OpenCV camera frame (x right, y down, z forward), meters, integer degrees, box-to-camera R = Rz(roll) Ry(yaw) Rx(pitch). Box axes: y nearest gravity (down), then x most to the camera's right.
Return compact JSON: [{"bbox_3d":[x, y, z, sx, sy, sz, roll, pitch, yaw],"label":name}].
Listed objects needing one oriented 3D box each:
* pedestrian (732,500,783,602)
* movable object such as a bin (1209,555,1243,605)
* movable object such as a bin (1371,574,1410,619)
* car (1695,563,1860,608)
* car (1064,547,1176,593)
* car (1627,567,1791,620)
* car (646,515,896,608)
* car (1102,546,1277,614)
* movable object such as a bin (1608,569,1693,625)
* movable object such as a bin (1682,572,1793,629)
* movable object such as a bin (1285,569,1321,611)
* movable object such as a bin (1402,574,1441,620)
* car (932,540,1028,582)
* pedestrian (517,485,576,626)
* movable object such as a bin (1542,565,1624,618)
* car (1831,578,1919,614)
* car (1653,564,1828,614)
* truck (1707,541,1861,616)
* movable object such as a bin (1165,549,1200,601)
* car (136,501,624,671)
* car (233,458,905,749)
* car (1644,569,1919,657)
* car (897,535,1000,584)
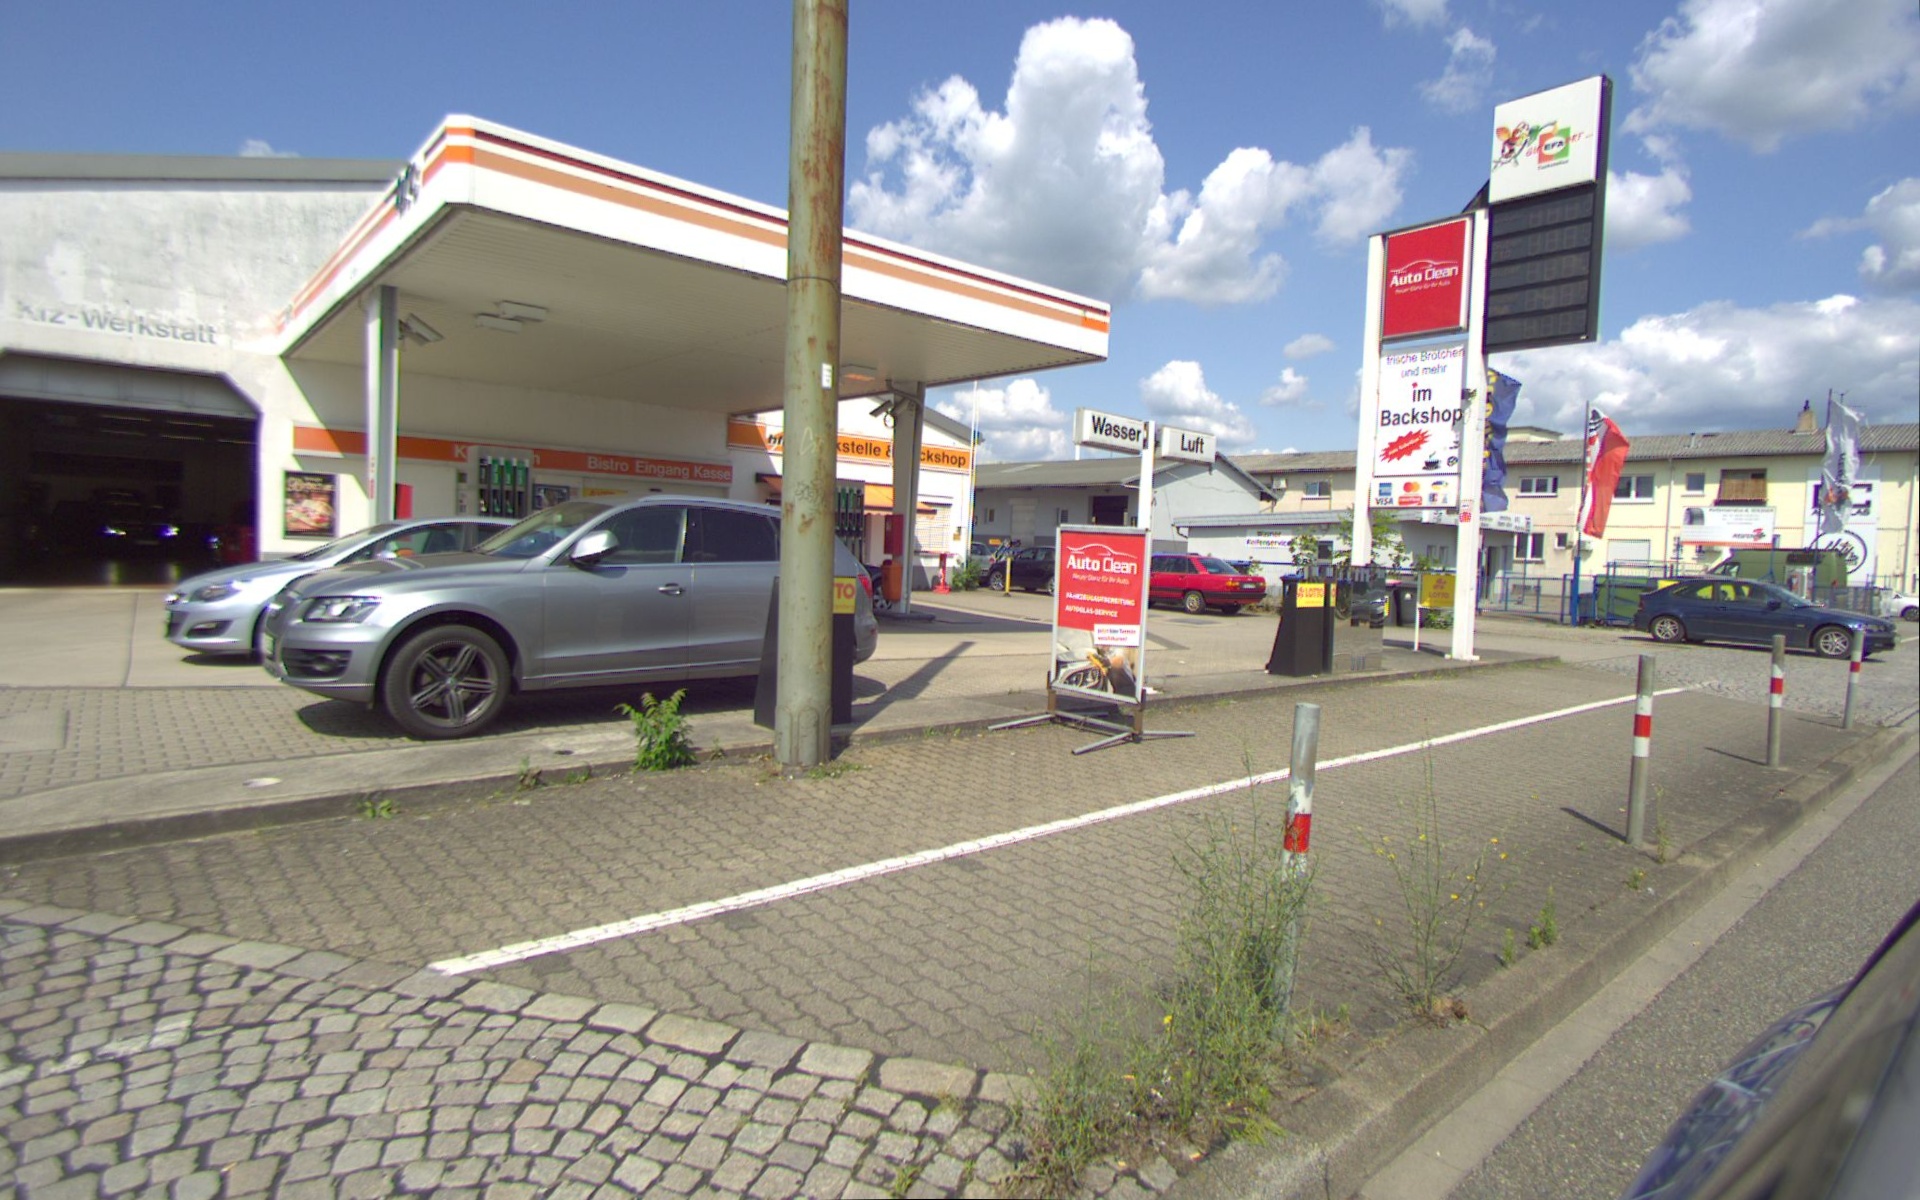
[{"bbox_3d":[-3.548,-0.850,17.708,0.609,1.743,0.685,-1,2,-44],"label":"pedestrian"},{"bbox_3d":[7.007,-0.534,26.654,0.694,1.312,0.581,-1,2,-42],"label":"movable object such as a bin"},{"bbox_3d":[10.042,-0.093,23.605,0.694,1.023,0.581,-1,2,-42],"label":"movable object such as a bin"},{"bbox_3d":[29.373,-0.580,36.477,1.792,1.526,4.267,-1,2,-32],"label":"car"},{"bbox_3d":[4.939,-0.972,31.582,1.461,1.240,3.311,-1,5,-39],"label":"car"},{"bbox_3d":[23.909,-0.260,32.450,1.592,1.480,3.919,-1,3,-24],"label":"car"},{"bbox_3d":[-3.526,-0.694,19.374,4.413,1.538,1.687,1,3,-41],"label":"car"},{"bbox_3d":[5.735,-0.570,25.719,1.740,1.441,4.147,-1,5,-39],"label":"car"},{"bbox_3d":[18.737,-0.112,27.465,1.735,1.427,1.534,-1,2,-41],"label":"movable object such as a bin"},{"bbox_3d":[19.987,-0.031,26.027,1.679,1.363,1.966,-1,3,-41],"label":"movable object such as a bin"},{"bbox_3d":[8.595,-0.252,25.381,0.694,1.023,0.581,-1,2,-42],"label":"movable object such as a bin"},{"bbox_3d":[10.584,-0.077,23.215,0.694,1.023,0.581,-1,2,-42],"label":"movable object such as a bin"},{"bbox_3d":[0.676,-1.449,37.024,1.525,1.330,3.647,-1,5,-39],"label":"car"},{"bbox_3d":[-5.444,-0.580,13.326,0.568,1.798,0.497,-1,2,-43],"label":"pedestrian"},{"bbox_3d":[17.662,-0.263,28.675,1.735,1.427,1.534,-1,2,-41],"label":"movable object such as a bin"},{"bbox_3d":[38.157,-0.169,41.277,1.490,1.374,3.728,-1,2,-37],"label":"car"},{"bbox_3d":[25.818,-0.410,33.658,1.789,1.523,4.272,-1,2,-24],"label":"car"},{"bbox_3d":[31.260,-0.866,38.475,2.071,2.693,4.181,-1,2,-39],"label":"truck"},{"bbox_3d":[6.153,-0.698,27.970,0.695,1.408,0.581,0,4,-43],"label":"movable object such as a bin"},{"bbox_3d":[-6.111,-0.248,11.138,1.690,1.488,4.360,5,5,40],"label":"car"},{"bbox_3d":[-2.820,-0.077,7.954,4.537,1.644,1.949,-1,4,-42],"label":"car"},{"bbox_3d":[16.300,0.173,20.191,1.616,1.425,4.069,-1,4,-34],"label":"car"},{"bbox_3d":[-0.440,-1.370,33.615,1.501,1.441,3.594,-1,5,-39],"label":"car"}]
